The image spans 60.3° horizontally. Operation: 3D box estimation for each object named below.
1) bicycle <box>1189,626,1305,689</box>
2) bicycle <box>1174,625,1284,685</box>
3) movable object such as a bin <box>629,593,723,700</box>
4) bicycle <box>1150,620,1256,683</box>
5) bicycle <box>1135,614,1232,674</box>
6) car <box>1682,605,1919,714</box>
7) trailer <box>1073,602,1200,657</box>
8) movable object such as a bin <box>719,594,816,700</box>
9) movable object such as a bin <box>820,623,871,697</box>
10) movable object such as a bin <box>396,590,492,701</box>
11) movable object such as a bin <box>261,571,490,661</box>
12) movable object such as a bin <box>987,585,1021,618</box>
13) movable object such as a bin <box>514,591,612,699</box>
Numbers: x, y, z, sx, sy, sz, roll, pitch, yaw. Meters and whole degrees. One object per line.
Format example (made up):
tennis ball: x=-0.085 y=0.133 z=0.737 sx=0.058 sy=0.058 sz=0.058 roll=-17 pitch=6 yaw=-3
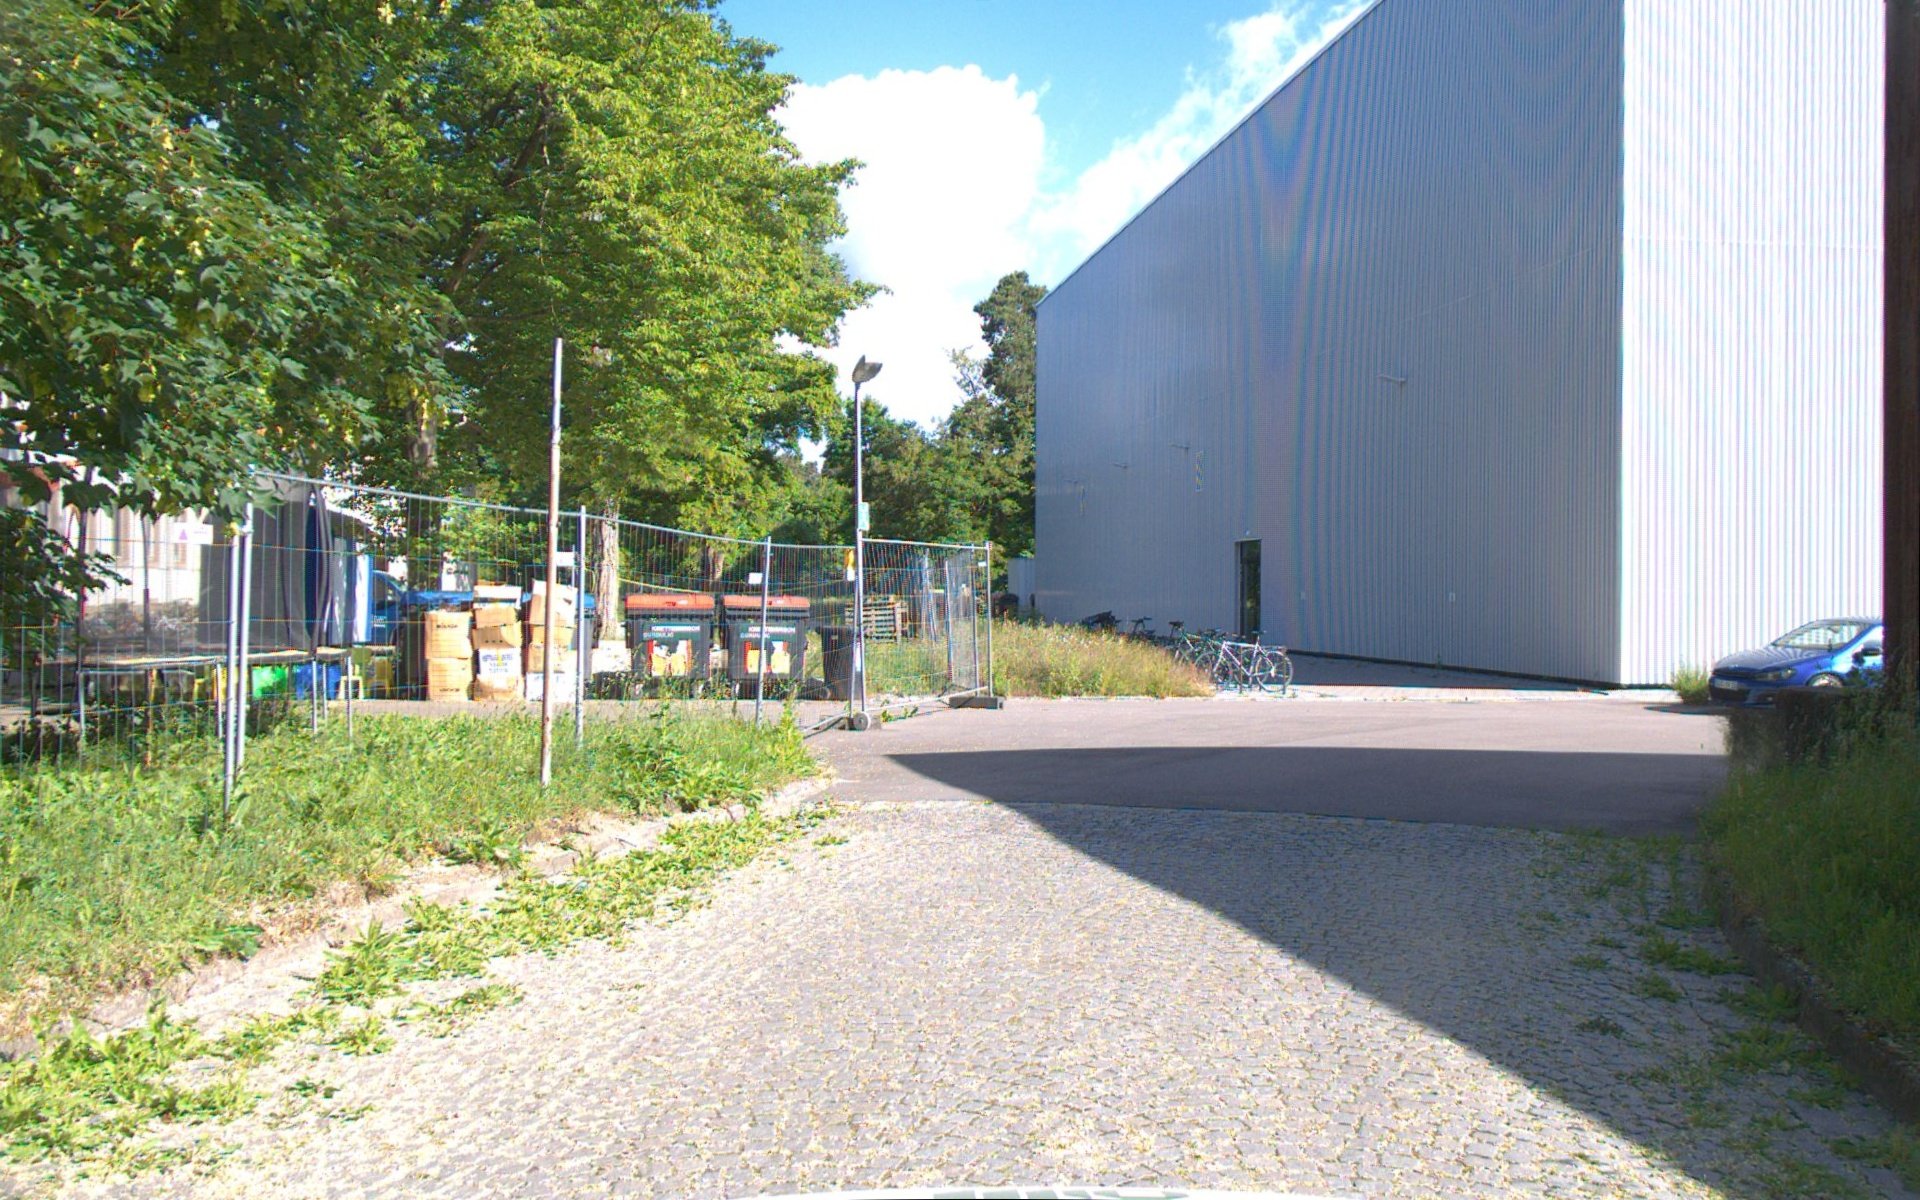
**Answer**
bicycle: x=4.738 y=0.938 z=27.300 sx=1.849 sy=0.995 sz=0.432 roll=0 pitch=0 yaw=-10
bicycle: x=4.646 y=0.942 z=28.560 sx=1.849 sy=0.995 sz=0.432 roll=0 pitch=0 yaw=-10
movable object such as a bin: x=-3.987 y=0.637 z=23.135 sx=1.264 sy=1.451 sz=1.029 roll=0 pitch=0 yaw=-12
bicycle: x=4.386 y=0.925 z=29.818 sx=1.849 sy=1.101 sz=0.432 roll=0 pitch=0 yaw=-10
bicycle: x=4.375 y=0.861 z=32.358 sx=1.849 sy=1.145 sz=0.432 roll=0 pitch=0 yaw=-10
car: x=12.455 y=0.814 z=23.111 sx=4.080 sy=1.408 sz=1.751 roll=1 pitch=0 yaw=-11
trailer: x=4.039 y=0.661 z=37.910 sx=2.661 sy=1.221 sz=1.243 roll=0 pitch=0 yaw=-10
movable object such as a bin: x=-2.737 y=0.642 z=23.418 sx=1.265 sy=1.451 sz=1.029 roll=0 pitch=0 yaw=-13
movable object such as a bin: x=-1.623 y=0.846 z=23.460 sx=0.628 sy=1.025 sz=0.605 roll=0 pitch=0 yaw=6
movable object such as a bin: x=-7.005 y=0.605 z=22.494 sx=1.063 sy=1.463 sz=1.054 roll=0 pitch=0 yaw=-7
movable object such as a bin: x=-13.498 y=0.341 z=38.500 sx=4.785 sy=2.005 sz=1.927 roll=0 pitch=0 yaw=-12
movable object such as a bin: x=2.236 y=0.072 z=83.990 sx=1.337 sy=1.685 sz=2.838 roll=0 pitch=0 yaw=-7
movable object such as a bin: x=-5.472 y=0.605 z=22.878 sx=1.264 sy=1.451 sz=1.029 roll=0 pitch=0 yaw=-12
